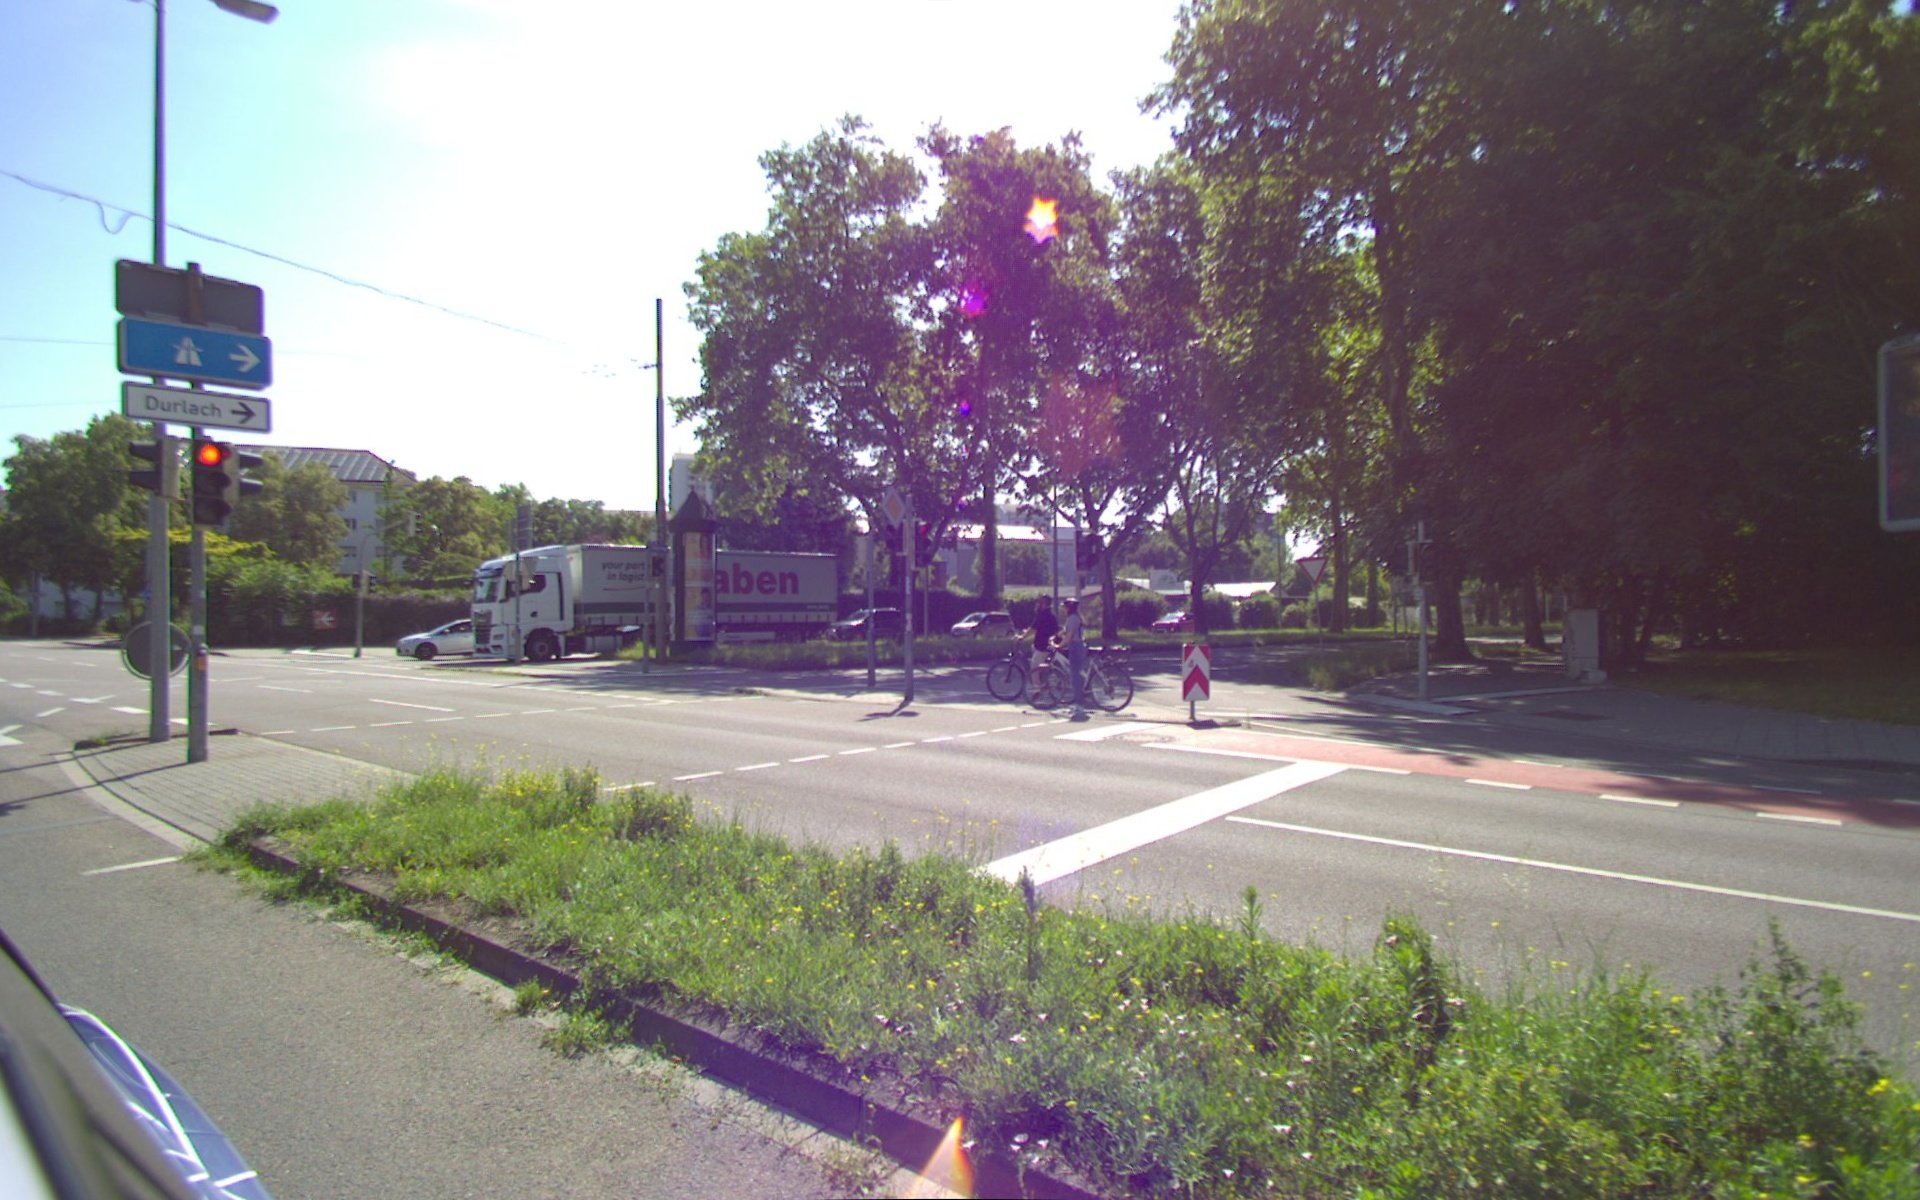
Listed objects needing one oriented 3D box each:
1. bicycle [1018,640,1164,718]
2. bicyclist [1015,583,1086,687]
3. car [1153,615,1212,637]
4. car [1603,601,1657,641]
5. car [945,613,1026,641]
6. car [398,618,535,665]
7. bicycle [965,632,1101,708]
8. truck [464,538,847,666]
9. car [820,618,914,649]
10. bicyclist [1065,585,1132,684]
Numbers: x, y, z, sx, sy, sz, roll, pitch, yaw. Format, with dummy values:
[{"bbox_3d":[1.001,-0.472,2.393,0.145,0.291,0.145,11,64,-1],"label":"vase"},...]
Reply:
[{"bbox_3d":[1.955,1.157,15.267,2.067,1.066,0.745,-1,-1,30],"label":"bicycle"},{"bbox_3d":[1.528,0.578,17.006,0.826,1.687,0.827,-3,-2,39],"label":"bicyclist"},{"bbox_3d":[15.017,1.723,68.197,4.305,1.379,1.758,0,-2,-43],"label":"car"},{"bbox_3d":[41.599,1.288,62.794,2.000,2.334,4.592,-1,-1,44],"label":"car"},{"bbox_3d":[1.408,1.429,54.499,4.305,1.379,1.758,0,-2,-43],"label":"car"},{"bbox_3d":[-17.840,1.481,36.634,4.323,1.522,1.761,-1,-2,-31],"label":"car"},{"bbox_3d":[1.217,1.155,17.243,2.210,1.184,0.928,-1,-1,41],"label":"bicycle"},{"bbox_3d":[-10.591,0.179,37.755,2.856,4.038,14.095,-1,-2,44],"label":"truck"},{"bbox_3d":[-4.457,1.602,48.858,4.305,1.379,1.758,0,-2,-43],"label":"car"},{"bbox_3d":[2.083,0.513,15.154,0.736,1.431,0.703,-3,-2,31],"label":"bicyclist"}]
